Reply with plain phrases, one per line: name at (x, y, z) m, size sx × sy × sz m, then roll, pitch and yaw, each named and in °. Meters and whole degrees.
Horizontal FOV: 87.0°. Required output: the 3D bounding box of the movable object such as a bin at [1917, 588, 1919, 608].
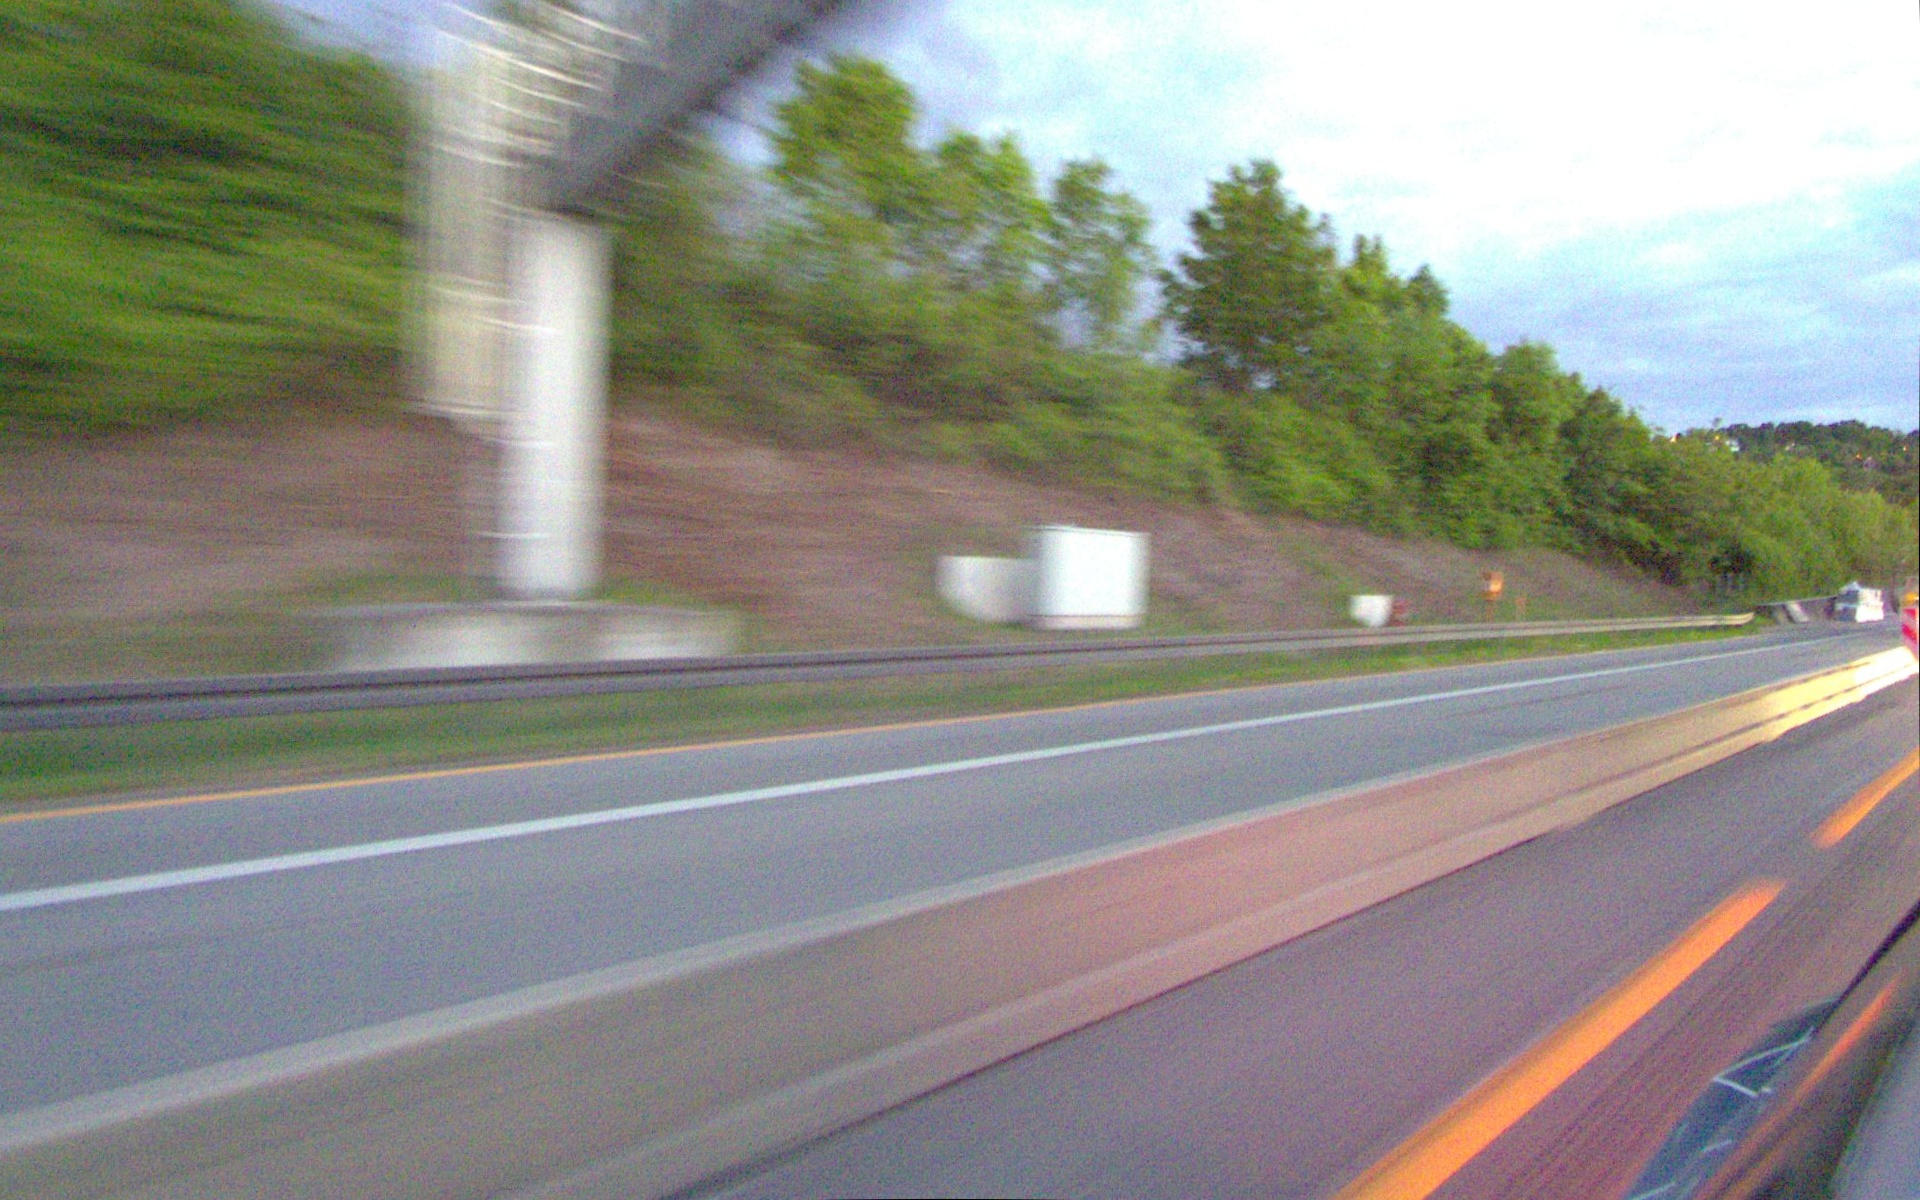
movable object such as a bin at (80.530, -0.120, 83.432) m, size 4.015 × 1.621 × 1.997 m, roll -1°, pitch 3°, yaw -42°

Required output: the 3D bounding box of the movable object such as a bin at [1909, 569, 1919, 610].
movable object such as a bin at (77.075, -0.815, 79.984) m, size 5.709 × 3.146 × 2.624 m, roll -1°, pitch 2°, yaw -43°
